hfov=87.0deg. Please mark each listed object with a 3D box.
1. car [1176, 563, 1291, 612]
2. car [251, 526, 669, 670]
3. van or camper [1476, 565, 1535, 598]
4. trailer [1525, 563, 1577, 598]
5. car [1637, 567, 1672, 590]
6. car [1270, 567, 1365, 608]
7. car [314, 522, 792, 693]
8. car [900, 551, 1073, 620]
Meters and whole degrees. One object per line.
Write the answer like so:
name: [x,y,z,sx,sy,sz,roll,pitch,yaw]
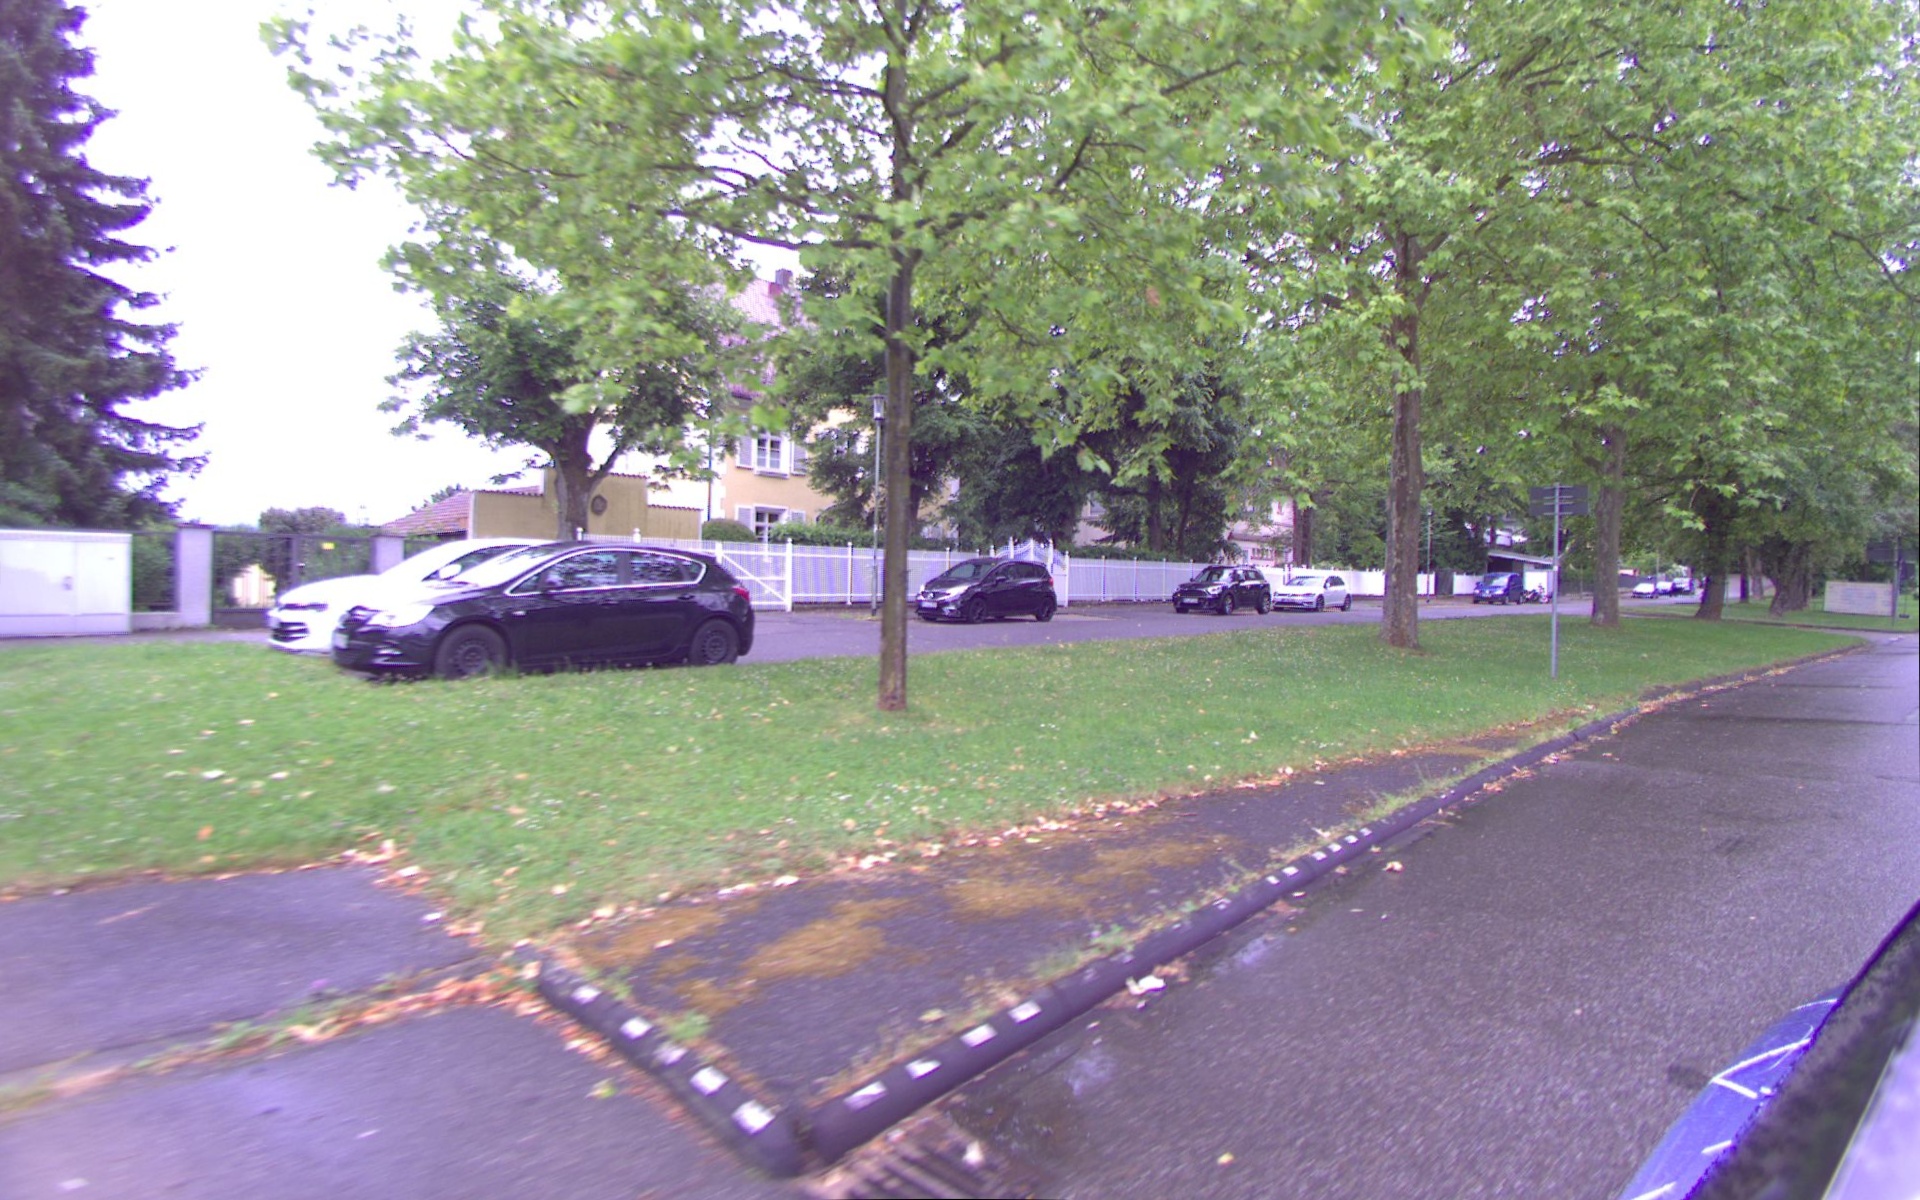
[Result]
car: [9.045,-0.415,33.296,1.992,1.489,4.062,0,1,42]
car: [-6.072,-0.094,12.670,1.846,1.489,4.355,3,3,44]
van or camper: [31.097,-1.043,57.623,1.991,1.831,4.705,-1,1,41]
trailer: [37.721,-1.242,64.563,1.766,2.143,5.112,-1,0,43]
car: [65.401,-2.015,95.272,3.935,2.038,1.995,-1,3,-44]
car: [13.749,-0.475,38.806,1.992,1.467,4.062,0,1,42]
car: [-4.220,-0.023,11.040,4.523,1.489,1.766,-1,4,-45]
car: [0.720,-0.343,24.347,1.759,1.490,4.291,-3,-1,42]
